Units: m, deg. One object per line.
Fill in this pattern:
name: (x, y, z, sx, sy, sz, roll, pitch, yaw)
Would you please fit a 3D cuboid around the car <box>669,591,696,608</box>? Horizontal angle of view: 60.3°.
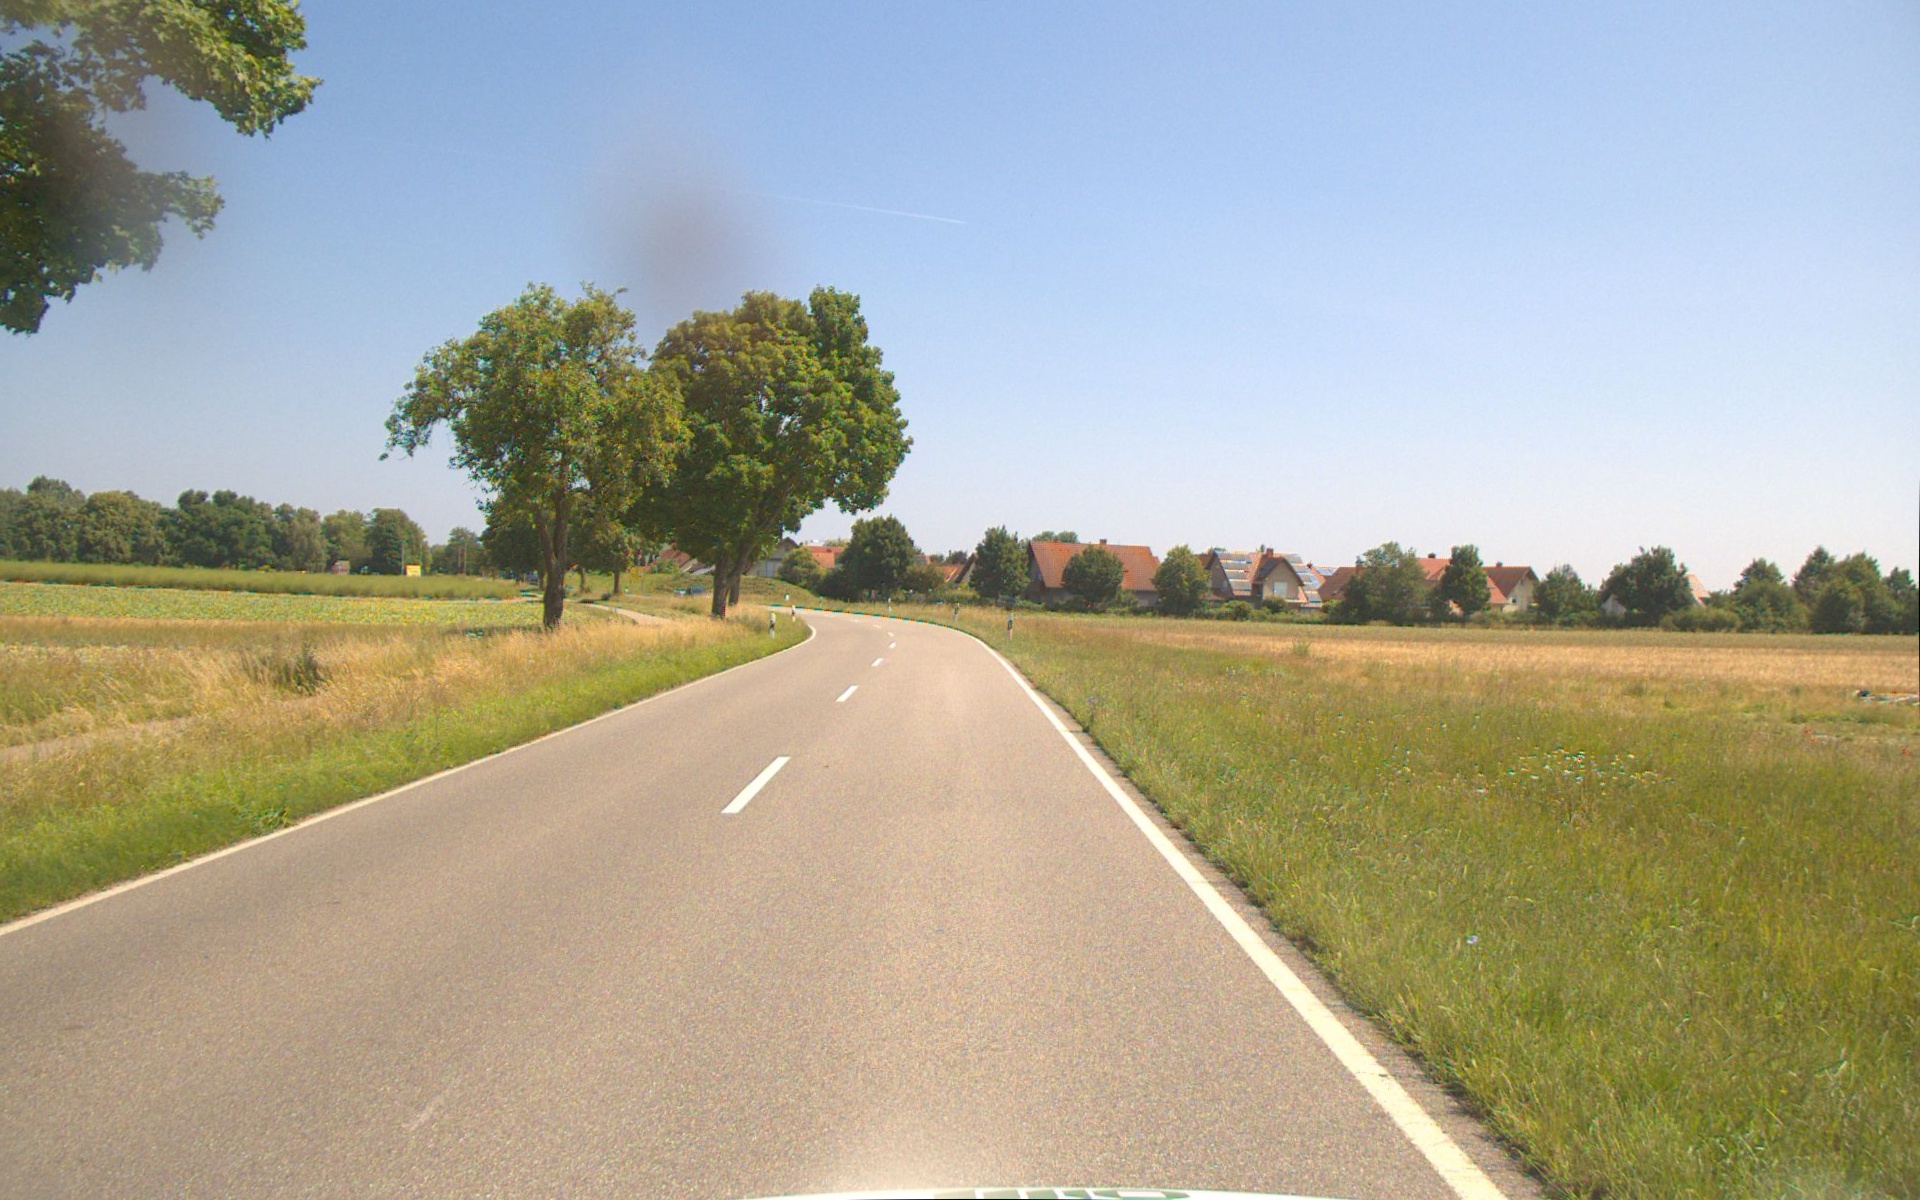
car: (-24.874, -0.019, 148.168, 1.620, 1.454, 4.155, -1, 0, -20)
